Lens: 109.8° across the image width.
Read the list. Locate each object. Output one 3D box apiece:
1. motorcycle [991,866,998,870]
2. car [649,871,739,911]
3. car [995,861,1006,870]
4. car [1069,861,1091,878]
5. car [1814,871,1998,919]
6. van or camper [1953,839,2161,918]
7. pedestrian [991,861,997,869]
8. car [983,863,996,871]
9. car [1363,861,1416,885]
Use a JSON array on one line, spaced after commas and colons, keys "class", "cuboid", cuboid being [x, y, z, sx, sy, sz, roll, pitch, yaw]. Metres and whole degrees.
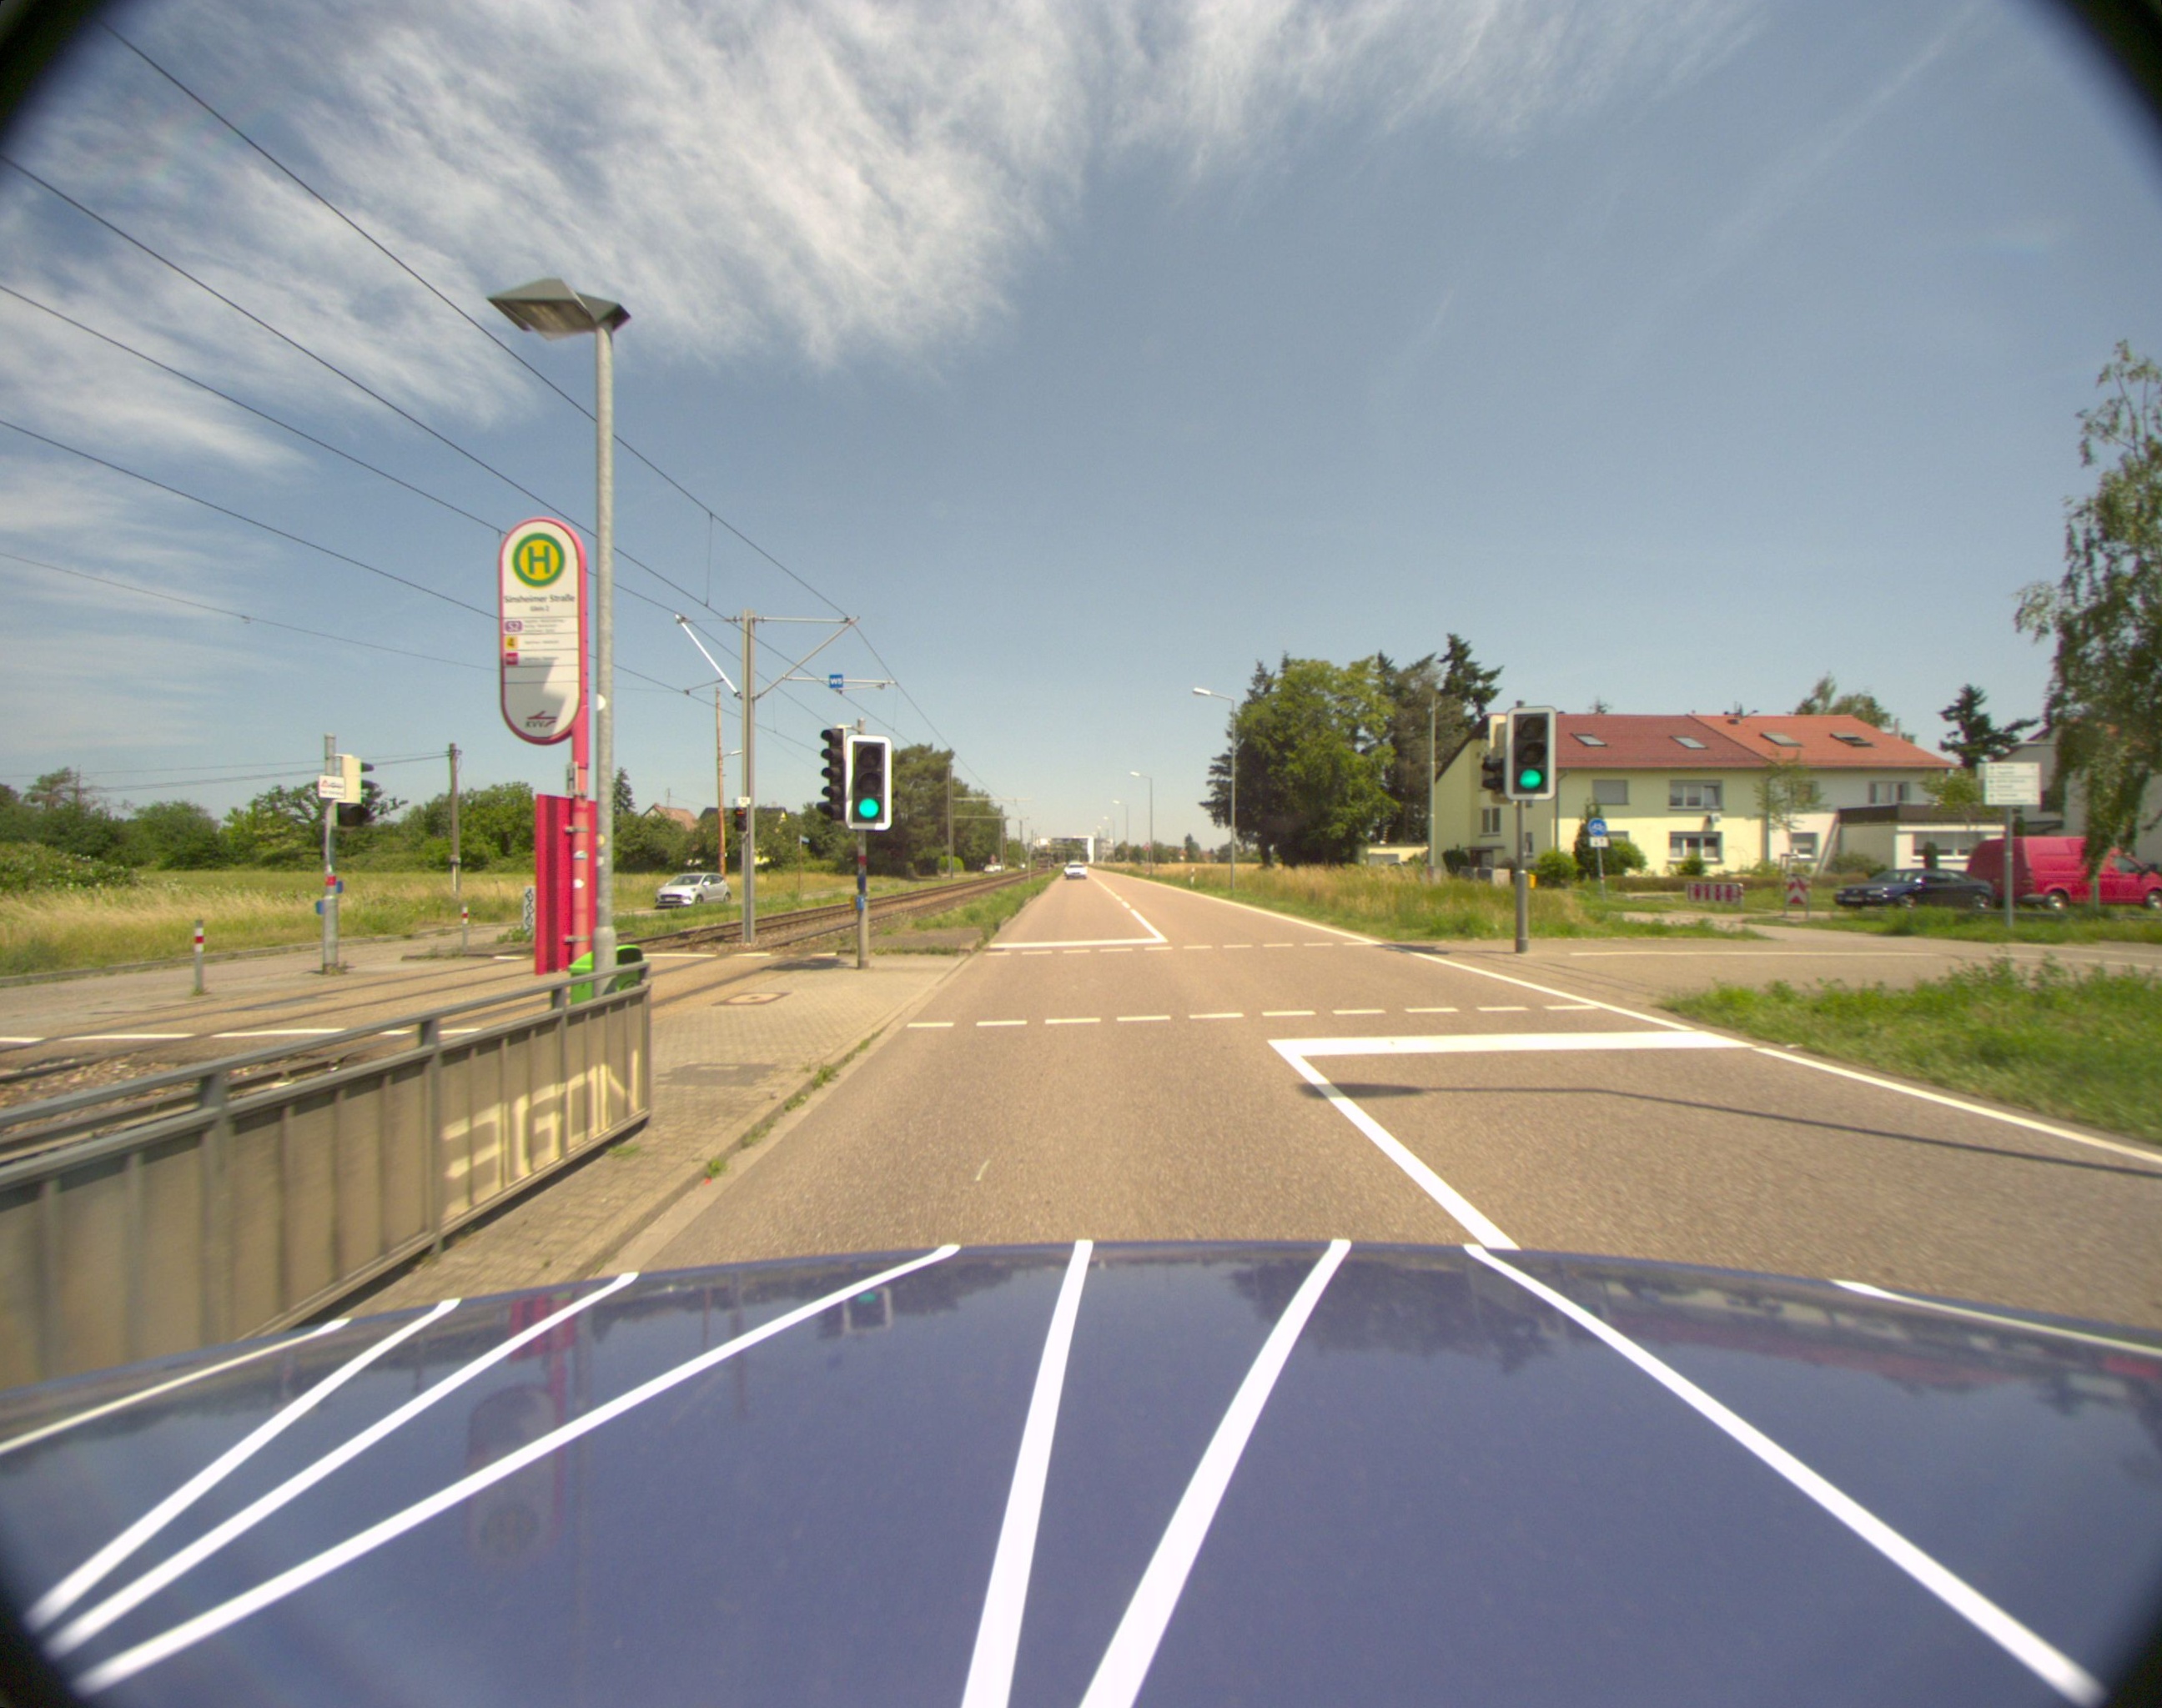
[{"class": "motorcycle", "cuboid": [-17.597, 2.862, 154.602, 0.858, 0.902, 2.791, -2, 0, 4]}, {"class": "car", "cuboid": [-16.446, 1.549, 32.497, 1.717, 1.480, 4.001, -2, 0, 1]}, {"class": "car", "cuboid": [-17.588, 2.488, 165.865, 1.863, 1.816, 4.587, -2, 0, 0]}, {"class": "car", "cuboid": [-0.069, 1.373, 67.469, 1.856, 1.447, 3.706, -2, 0, 0]}, {"class": "car", "cuboid": [26.815, 1.297, 24.784, 3.998, 1.346, 1.999, -2, 0, -4]}, {"class": "van or camper", "cuboid": [32.278, 0.779, 25.147, 4.767, 2.374, 1.999, -2, 0, -4]}, {"class": "pedestrian", "cuboid": [-17.677, 2.302, 154.503, 1.171, 1.653, 0.880, -2, 0, 5]}, {"class": "car", "cuboid": [-17.604, 2.553, 146.070, 1.923, 1.376, 4.000, -2, 0, 0]}, {"class": "car", "cuboid": [20.058, 1.207, 49.612, 1.710, 1.483, 4.186, -2, 0, -1]}]
